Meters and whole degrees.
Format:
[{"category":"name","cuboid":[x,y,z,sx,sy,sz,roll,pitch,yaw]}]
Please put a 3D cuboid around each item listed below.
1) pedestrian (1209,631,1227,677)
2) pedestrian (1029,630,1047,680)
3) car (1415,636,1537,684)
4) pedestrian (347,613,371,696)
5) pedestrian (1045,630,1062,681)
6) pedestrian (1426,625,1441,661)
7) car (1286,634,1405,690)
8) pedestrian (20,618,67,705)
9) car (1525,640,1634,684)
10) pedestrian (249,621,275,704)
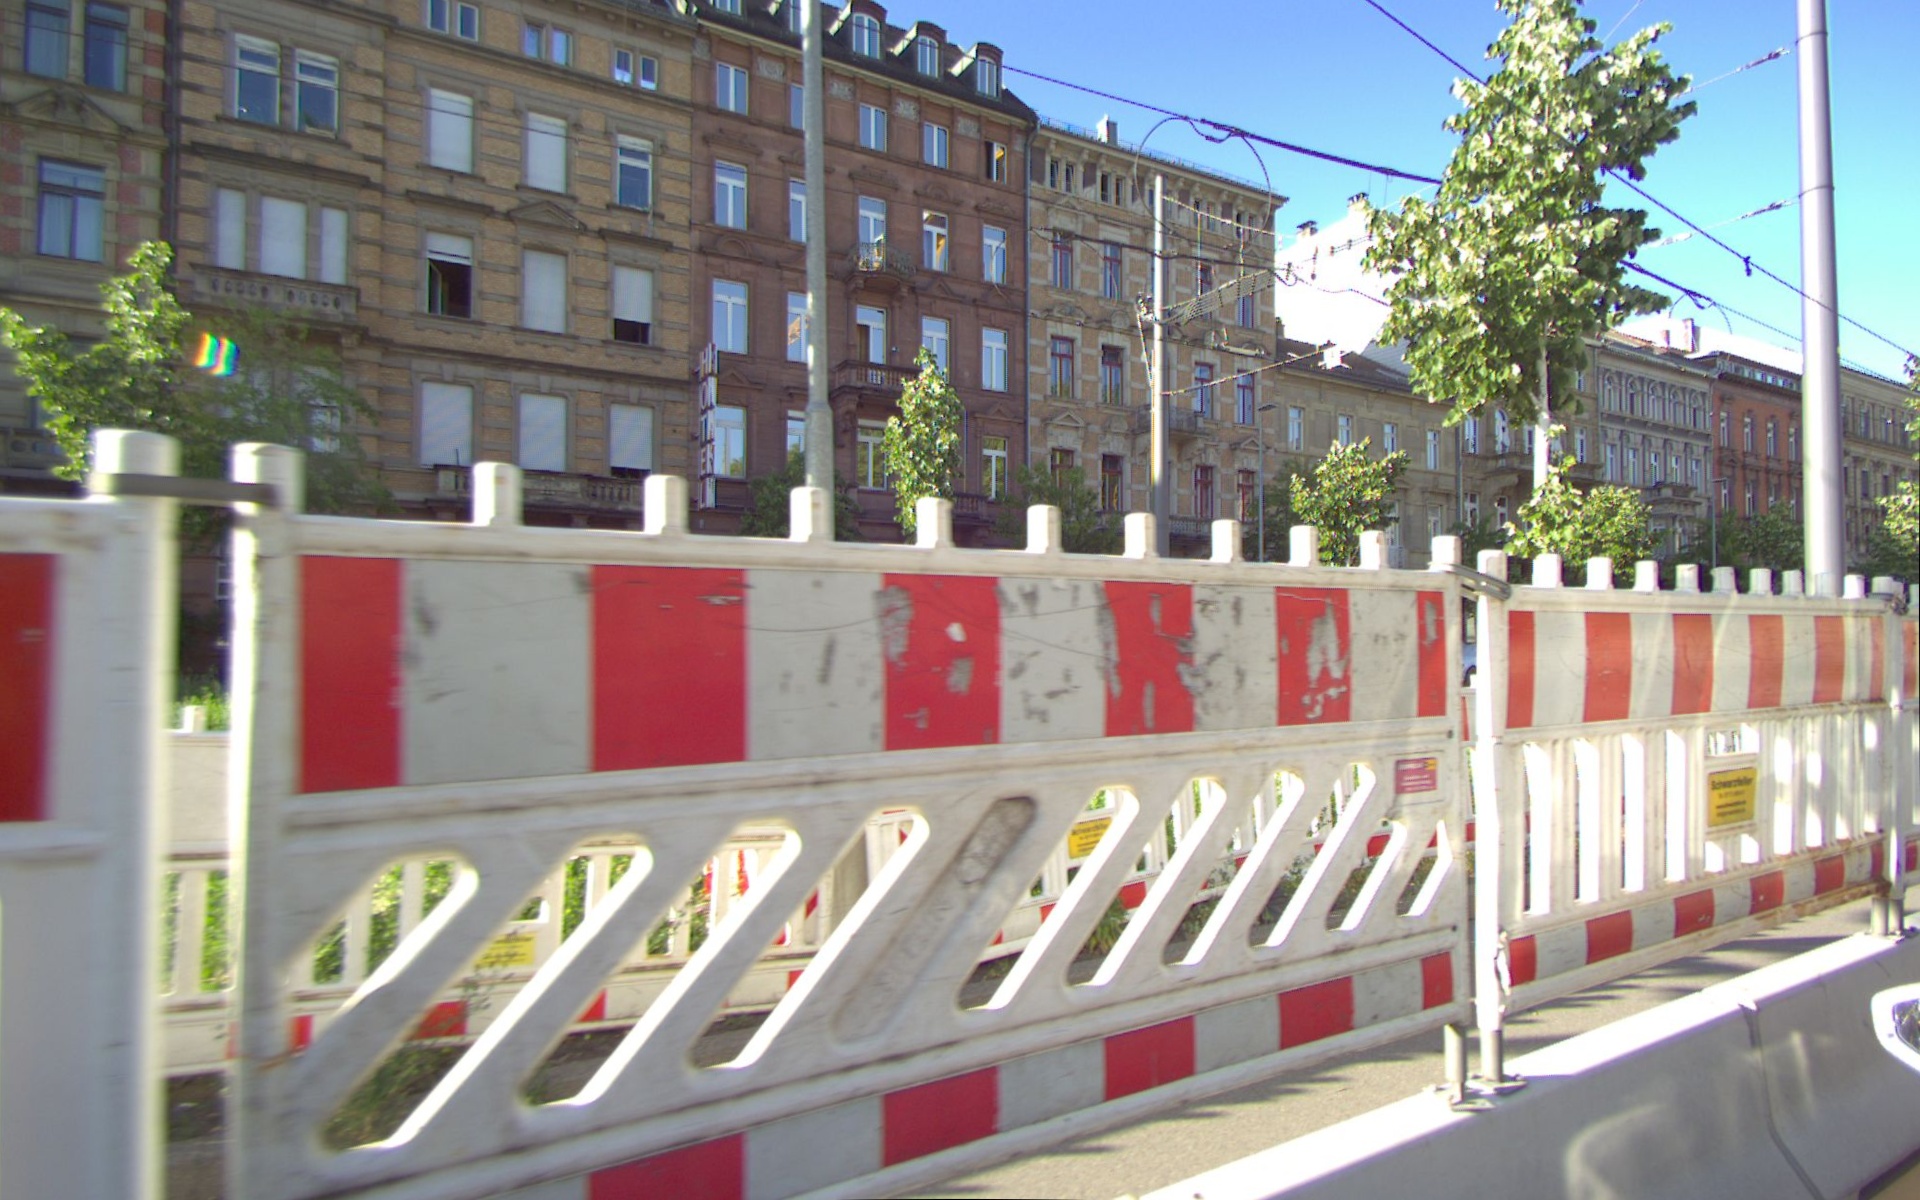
[{"category":"pedestrian","cuboid":[9.180,1.908,35.748,0.431,1.606,0.457,1,0,-36]},{"category":"pedestrian","cuboid":[2.569,1.805,32.928,0.381,1.606,0.431,1,0,-32]},{"category":"car","cuboid":[18.307,2.093,35.566,4.658,1.583,1.559,1,-2,-30]},{"category":"pedestrian","cuboid":[-13.042,1.173,21.810,0.401,1.788,0.505,1,0,-29]},{"category":"pedestrian","cuboid":[2.997,1.779,32.264,0.335,1.606,0.427,1,0,-29]},{"category":"pedestrian","cuboid":[20.412,1.853,43.303,0.430,1.555,0.403,1,0,-29]},{"category":"car","cuboid":[12.415,1.946,32.304,3.763,1.697,1.559,1,-2,-30]},{"category":"pedestrian","cuboid":[-17.293,1.143,18.957,0.527,1.606,0.484,1,0,-29]},{"category":"car","cuboid":[23.916,2.339,38.708,4.659,1.583,1.559,1,-2,-30]},{"category":"pedestrian","cuboid":[-15.158,1.351,21.825,0.401,1.788,0.365,1,0,-29]}]
